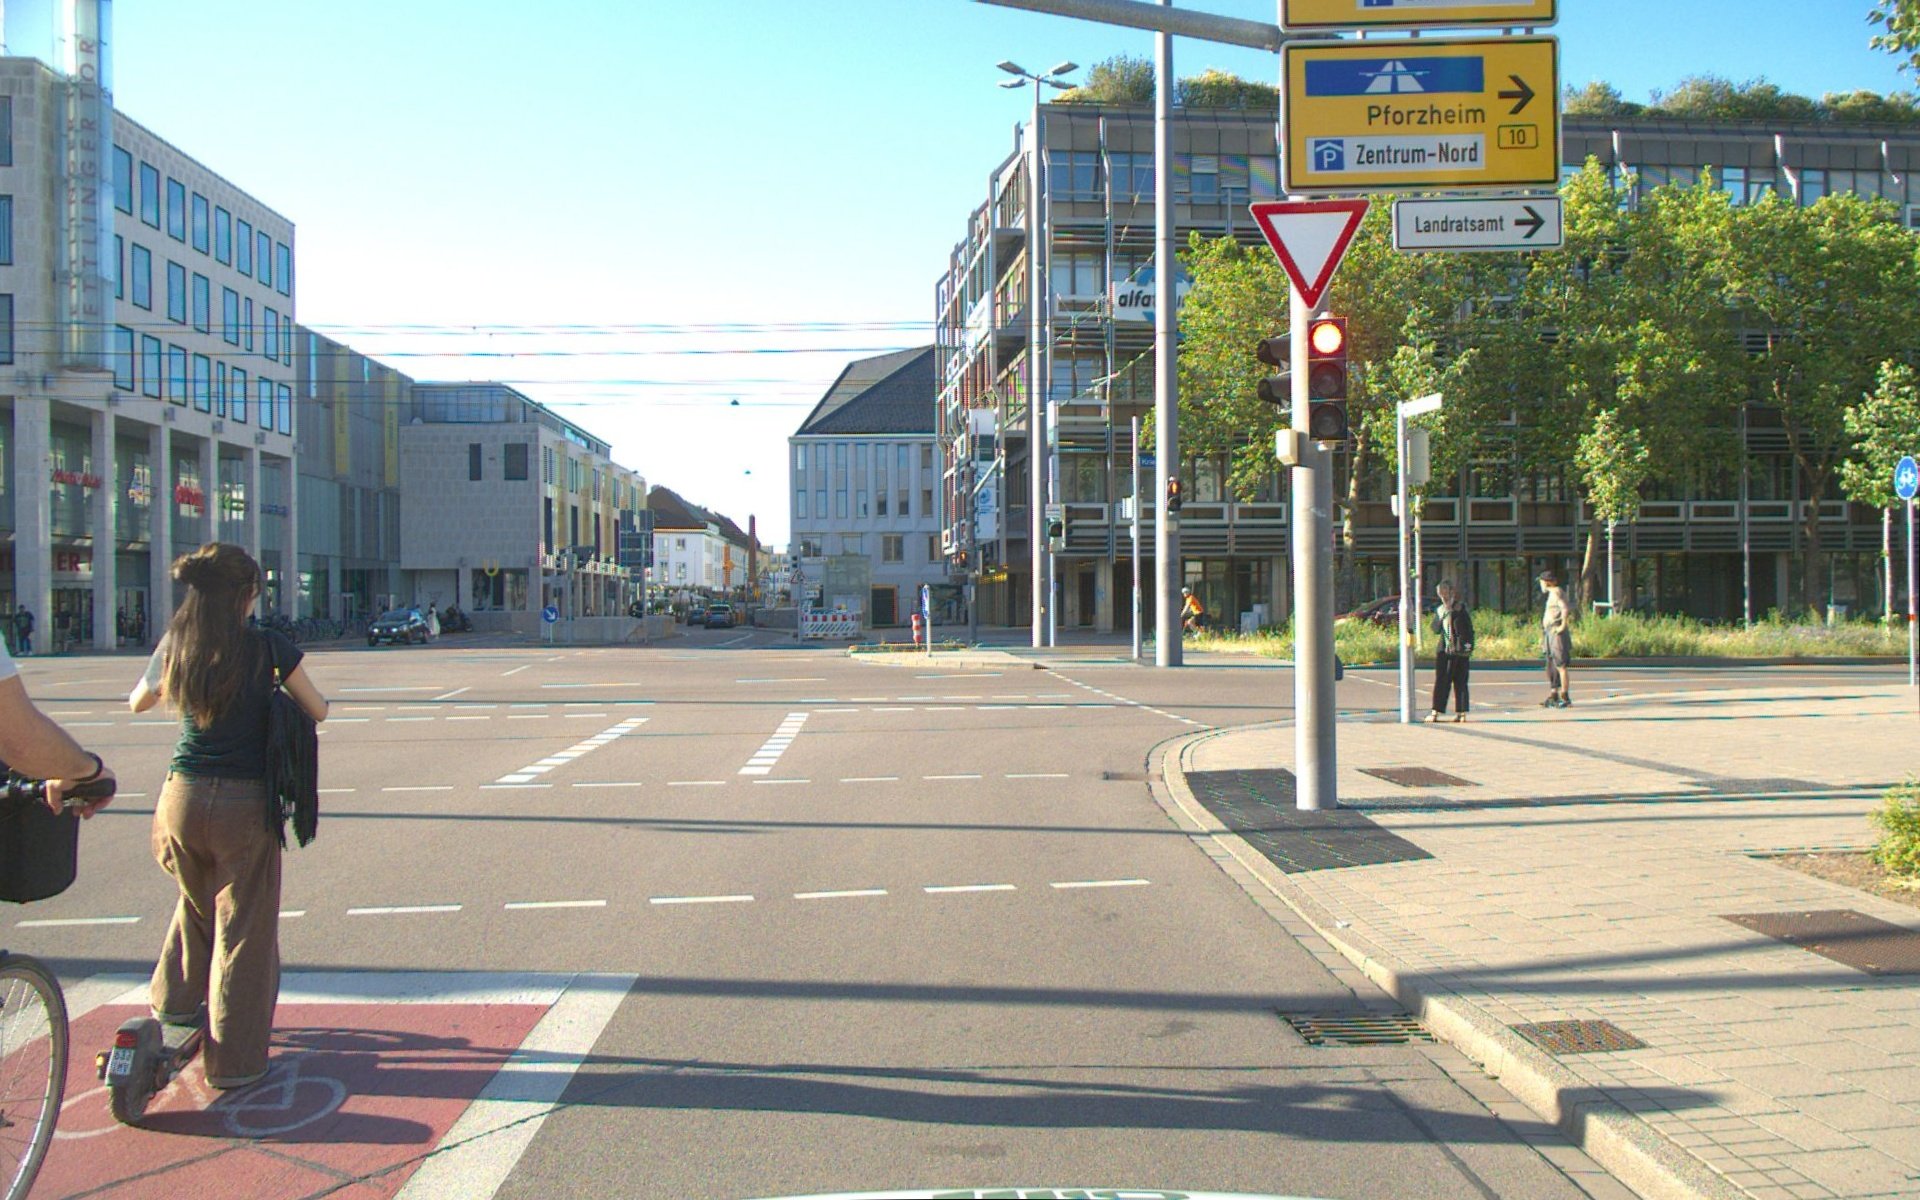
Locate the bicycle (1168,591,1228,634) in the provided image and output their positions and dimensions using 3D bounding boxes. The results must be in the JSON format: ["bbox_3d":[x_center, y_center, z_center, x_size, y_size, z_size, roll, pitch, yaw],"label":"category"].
[{"bbox_3d":[6.807,0.357,47.280,1.615,1.175,0.496,1,-1,-10],"label":"bicycle"}]

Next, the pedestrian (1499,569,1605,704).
[{"bbox_3d":[7.608,0.464,21.269,0.866,1.694,0.958,1,-1,-22],"label":"pedestrian"}]

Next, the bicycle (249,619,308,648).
[{"bbox_3d":[-29.507,1.440,71.637,2.260,1.244,0.611,0,0,-3],"label":"bicycle"}]

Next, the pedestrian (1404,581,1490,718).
[{"bbox_3d":[5.514,0.552,18.754,0.772,1.518,0.644,1,-1,-1],"label":"pedestrian"}]

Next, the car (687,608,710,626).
[{"bbox_3d":[-21.994,1.393,139.274,1.751,1.477,3.993,1,0,-7],"label":"car"}]

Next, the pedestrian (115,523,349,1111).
[{"bbox_3d":[-2.189,0.618,5.032,0.540,1.661,0.569,1,-1,-16],"label":"pedestrian"}]

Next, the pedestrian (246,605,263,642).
[{"bbox_3d":[-32.304,1.074,75.754,0.544,1.709,0.606,1,0,-11],"label":"pedestrian"}]

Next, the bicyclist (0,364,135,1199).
[{"bbox_3d":[-1.979,0.466,2.857,0.647,1.750,0.865,1,-1,-1],"label":"bicyclist"}]

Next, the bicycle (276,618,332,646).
[{"bbox_3d":[-29.607,1.451,74.702,2.260,1.244,0.611,0,0,-3],"label":"bicycle"}]

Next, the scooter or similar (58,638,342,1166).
[{"bbox_3d":[-2.179,0.786,4.865,0.538,1.316,1.189,1,0,-15],"label":"scooter or similar"}]

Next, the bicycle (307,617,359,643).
[{"bbox_3d":[-30.337,1.462,80.055,2.260,1.244,0.611,0,0,-3],"label":"bicycle"}]

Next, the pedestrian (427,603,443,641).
[{"bbox_3d":[-24.476,1.005,77.119,0.639,1.749,0.447,0,0,-25],"label":"pedestrian"}]

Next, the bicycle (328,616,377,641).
[{"bbox_3d":[-30.930,1.470,84.272,2.260,1.244,0.611,0,0,-3],"label":"bicycle"}]

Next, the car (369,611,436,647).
[{"bbox_3d":[-23.380,1.210,69.489,1.597,1.365,3.998,-3,0,-3],"label":"car"}]

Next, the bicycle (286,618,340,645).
[{"bbox_3d":[-30.067,1.453,76.852,2.260,1.244,0.611,0,0,-3],"label":"bicycle"}]

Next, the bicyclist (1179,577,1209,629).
[{"bbox_3d":[6.683,0.085,47.260,0.698,1.462,0.496,1,-1,-10],"label":"bicyclist"}]

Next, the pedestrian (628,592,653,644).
[{"bbox_3d":[-11.950,0.654,61.849,0.628,1.923,0.791,1,-1,14],"label":"pedestrian"}]

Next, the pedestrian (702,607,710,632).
[{"bbox_3d":[-17.923,1.363,116.895,0.511,1.709,0.582,1,0,-8],"label":"pedestrian"}]

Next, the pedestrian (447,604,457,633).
[{"bbox_3d":[-30.101,1.076,98.082,0.512,1.709,0.581,1,0,-14],"label":"pedestrian"}]

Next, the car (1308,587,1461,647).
[{"bbox_3d":[11.857,0.464,46.329,3.812,1.613,1.656,-1,0,-8],"label":"car"}]

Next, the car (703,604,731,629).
[{"bbox_3d":[-15.828,1.061,107.950,1.705,1.558,3.849,1,0,-8],"label":"car"}]

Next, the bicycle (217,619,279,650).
[{"bbox_3d":[-29.336,1.427,68.121,2.260,1.244,0.611,0,0,-3],"label":"bicycle"}]

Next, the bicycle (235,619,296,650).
[{"bbox_3d":[-29.129,1.437,69.406,2.260,1.244,0.611,0,0,-3],"label":"bicycle"}]

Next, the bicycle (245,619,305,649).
[{"bbox_3d":[-29.293,1.440,70.760,2.260,1.244,0.611,0,0,-3],"label":"bicycle"}]

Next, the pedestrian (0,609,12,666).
[{"bbox_3d":[-33.060,1.279,56.869,0.706,1.918,0.780,1,-1,-28],"label":"pedestrian"}]

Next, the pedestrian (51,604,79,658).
[{"bbox_3d":[-31.174,1.073,57.608,0.788,1.876,0.854,0,0,-33],"label":"pedestrian"}]

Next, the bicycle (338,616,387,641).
[{"bbox_3d":[-30.818,1.476,85.342,2.260,1.244,0.611,0,0,-3],"label":"bicycle"}]

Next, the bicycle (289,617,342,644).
[{"bbox_3d":[-30.717,1.450,78.823,2.260,1.244,0.611,0,0,-3],"label":"bicycle"}]

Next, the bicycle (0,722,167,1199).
[{"bbox_3d":[-2.083,0.870,2.932,0.475,1.176,1.831,1,0,-1],"label":"bicycle"}]

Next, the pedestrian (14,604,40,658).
[{"bbox_3d":[-32.865,1.081,58.267,0.787,1.876,0.856,0,0,-29],"label":"pedestrian"}]

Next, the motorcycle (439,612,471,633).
[{"bbox_3d":[-29.764,1.331,97.480,1.775,1.228,0.509,1,0,-16],"label":"motorcycle"}]
